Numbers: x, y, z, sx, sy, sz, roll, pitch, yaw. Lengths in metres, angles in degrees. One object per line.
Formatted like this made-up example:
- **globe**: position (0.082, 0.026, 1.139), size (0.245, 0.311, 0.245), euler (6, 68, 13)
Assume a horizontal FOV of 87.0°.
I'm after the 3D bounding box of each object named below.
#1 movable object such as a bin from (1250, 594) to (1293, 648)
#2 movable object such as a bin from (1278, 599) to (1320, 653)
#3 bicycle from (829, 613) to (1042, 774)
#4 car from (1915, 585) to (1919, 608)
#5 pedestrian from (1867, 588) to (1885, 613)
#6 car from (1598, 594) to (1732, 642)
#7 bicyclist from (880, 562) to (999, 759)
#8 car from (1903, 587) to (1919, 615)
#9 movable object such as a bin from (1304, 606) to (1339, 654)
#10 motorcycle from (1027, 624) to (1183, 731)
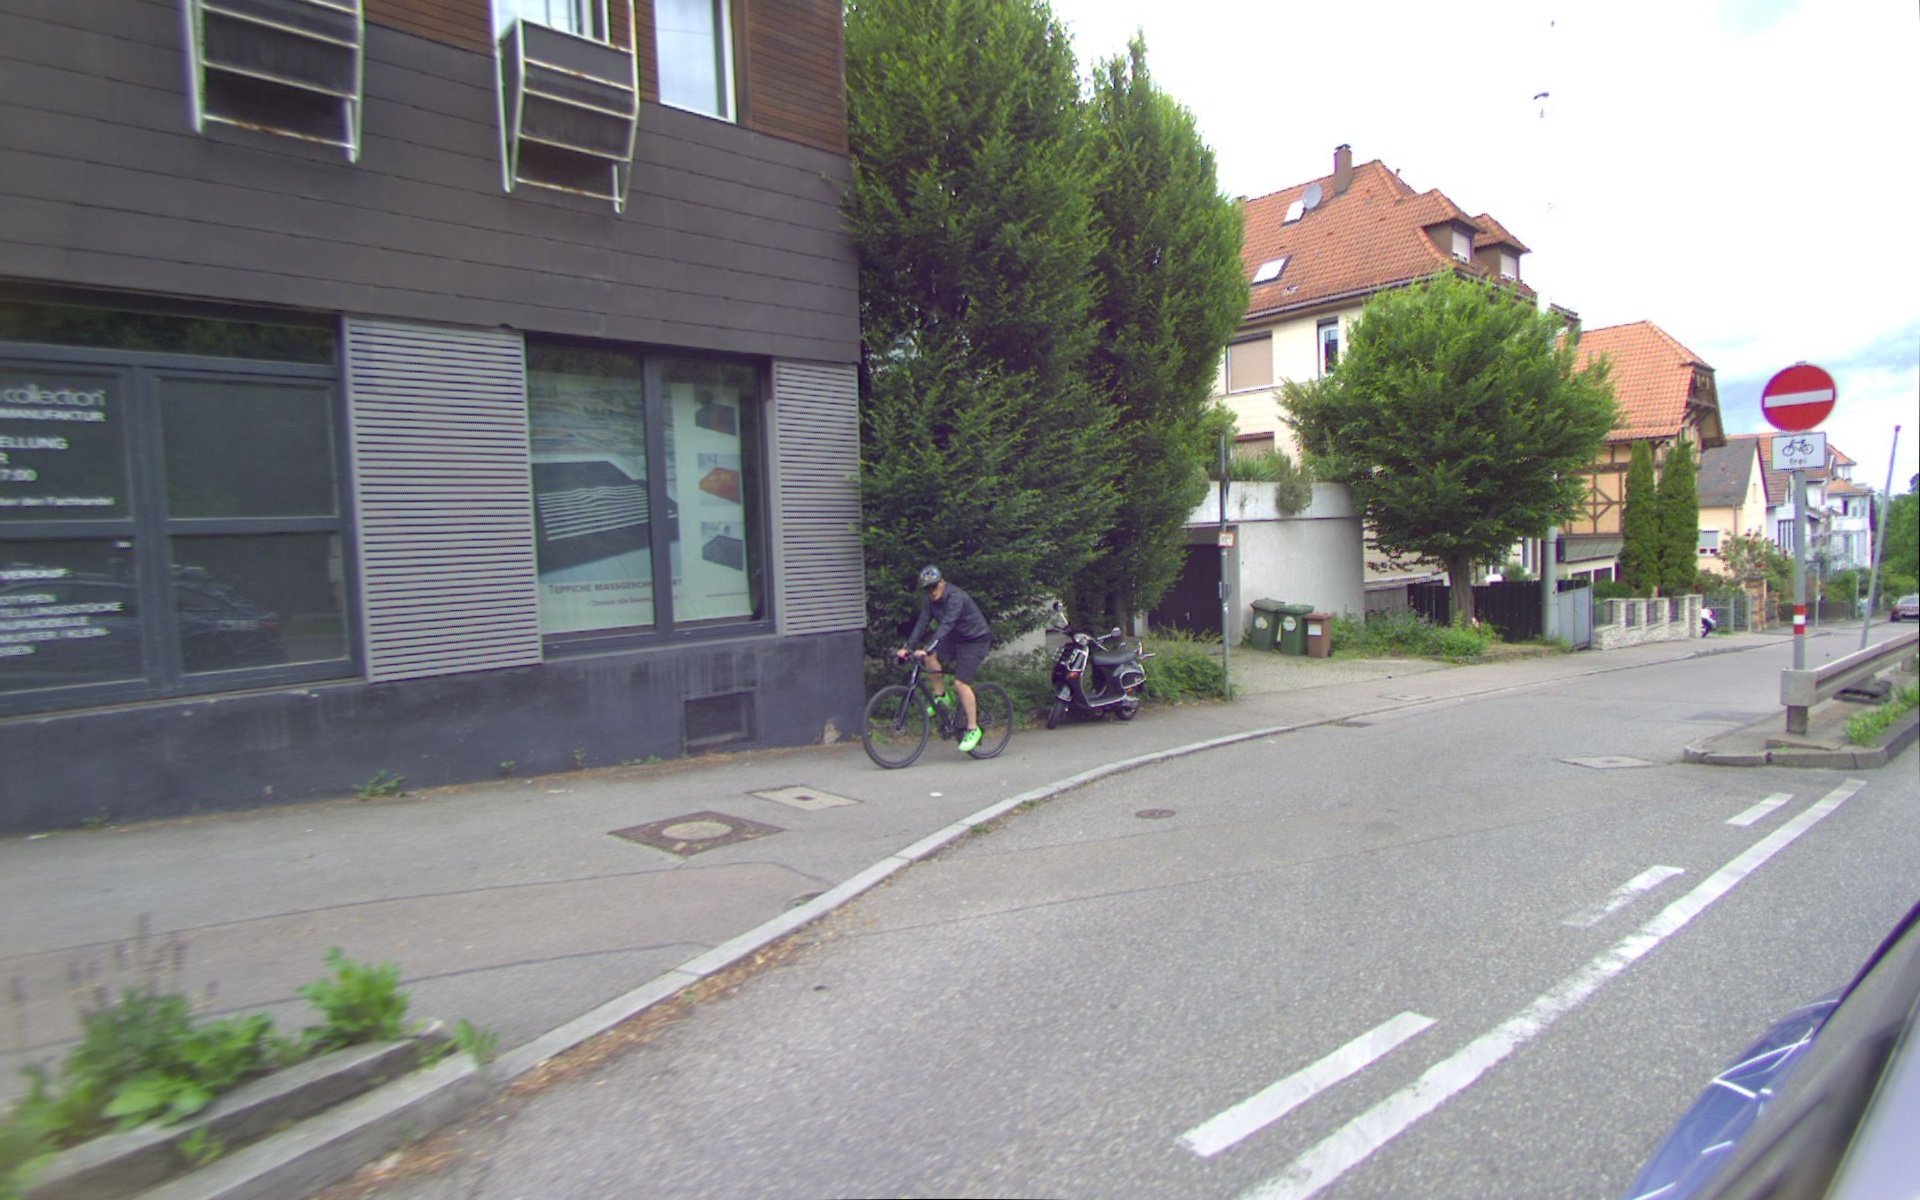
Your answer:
- **movable object such as a bin**: position (6.707, 0.445, 21.822), size (0.644, 1.092, 0.543), euler (-1, 7, -41)
- **movable object such as a bin**: position (7.184, 0.536, 21.438), size (0.551, 1.067, 0.543), euler (-1, 7, -41)
- **bicycle**: position (-0.174, 0.766, 9.047), size (2.004, 1.278, 0.572), euler (1, 1, -42)
- **car**: position (66.657, -0.285, 69.075), size (3.933, 1.518, 1.920), euler (-1, 0, -43)
- **pedestrian**: position (55.248, 0.028, 61.040), size (0.683, 1.489, 0.712), euler (-1, 0, -43)
- **car**: position (25.446, 0.648, 36.703), size (3.766, 1.422, 1.530), euler (-6, -3, 31)
- **bicyclist**: position (-0.177, 0.502, 9.023), size (0.931, 1.654, 0.538), euler (-1, 0, -41)
- **car**: position (59.609, 0.034, 62.373), size (3.933, 1.672, 1.920), euler (-1, 0, -43)
- **movable object such as a bin**: position (7.561, 0.615, 21.165), size (0.551, 0.951, 0.453), euler (-1, 4, -41)
- **motorcycle**: position (1.722, 0.858, 11.822), size (1.932, 1.064, 0.697), euler (-1, 2, -40)
